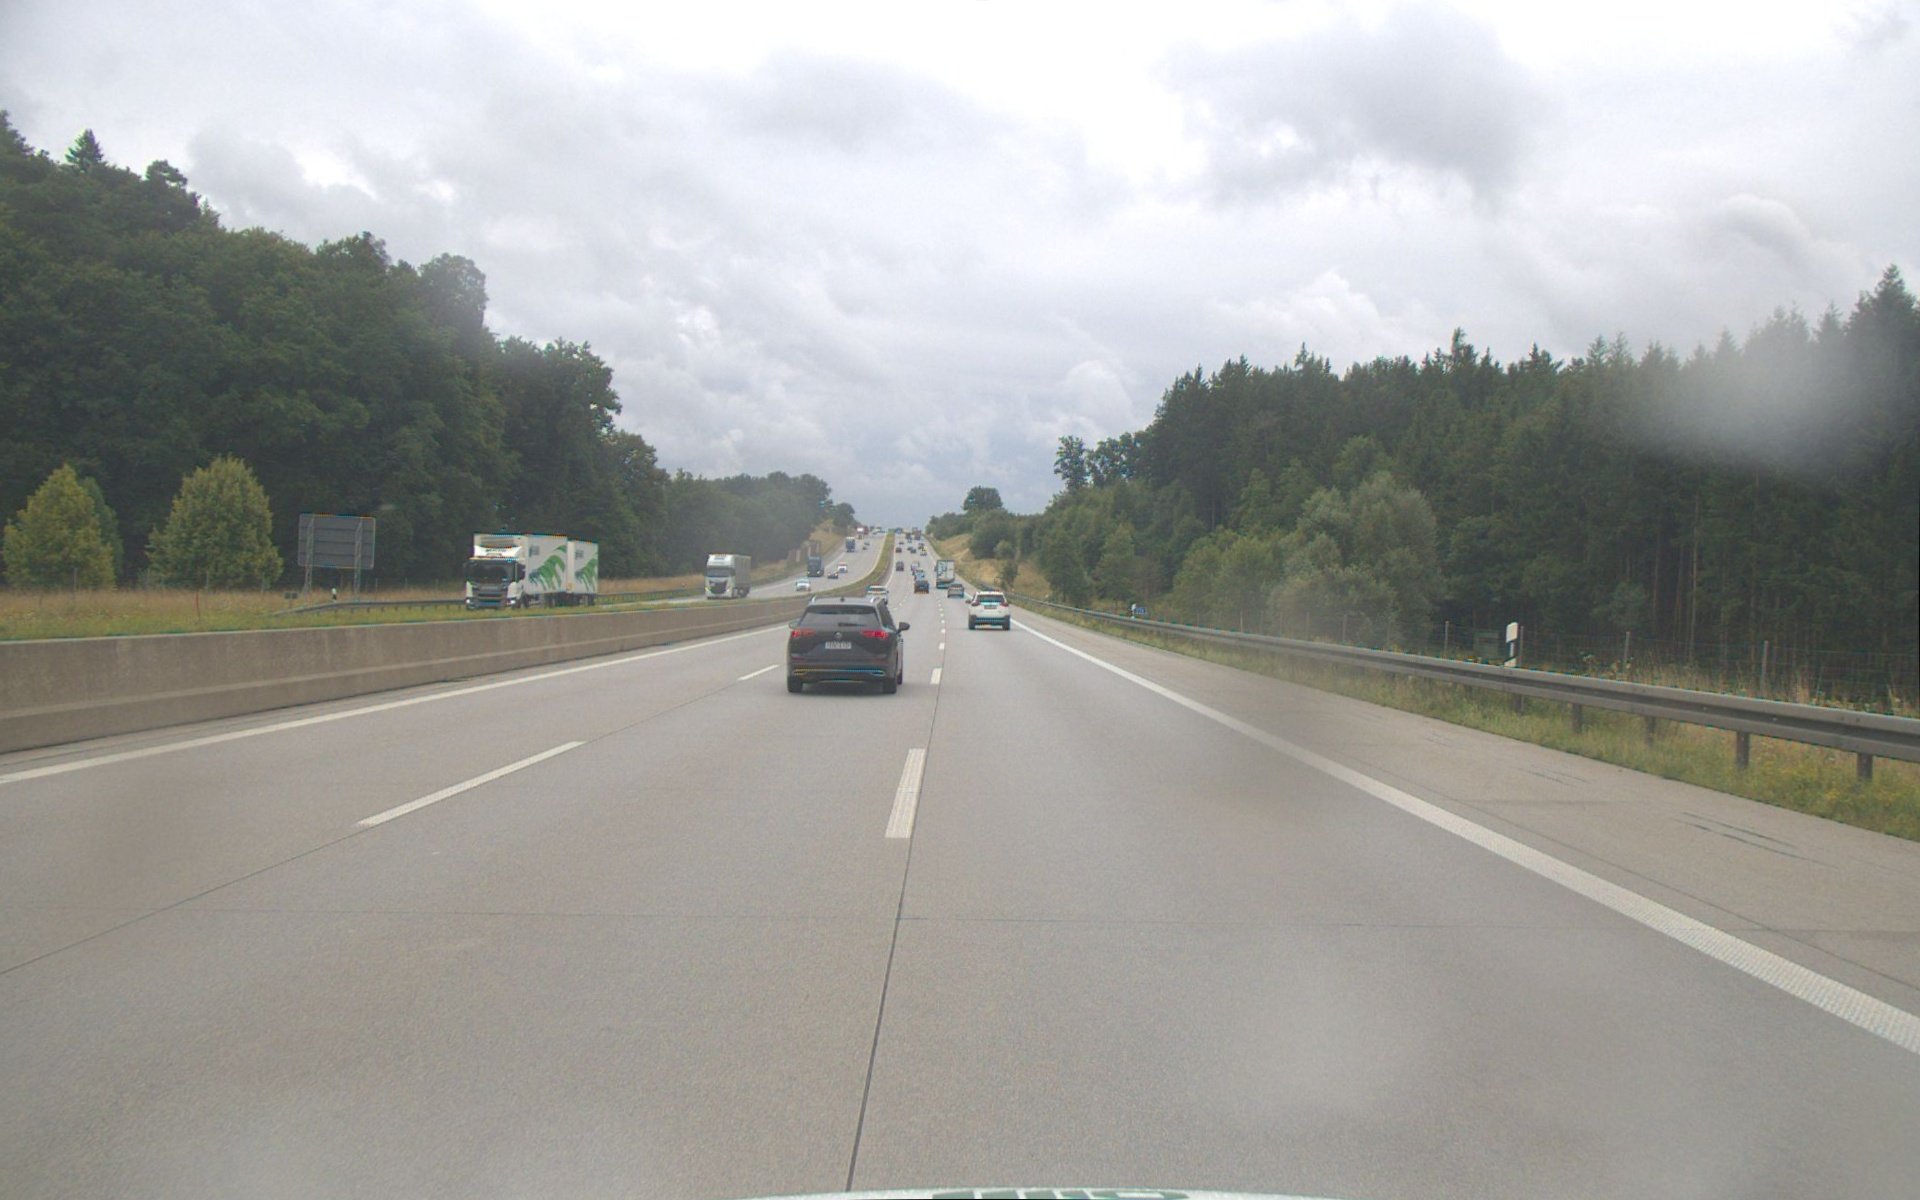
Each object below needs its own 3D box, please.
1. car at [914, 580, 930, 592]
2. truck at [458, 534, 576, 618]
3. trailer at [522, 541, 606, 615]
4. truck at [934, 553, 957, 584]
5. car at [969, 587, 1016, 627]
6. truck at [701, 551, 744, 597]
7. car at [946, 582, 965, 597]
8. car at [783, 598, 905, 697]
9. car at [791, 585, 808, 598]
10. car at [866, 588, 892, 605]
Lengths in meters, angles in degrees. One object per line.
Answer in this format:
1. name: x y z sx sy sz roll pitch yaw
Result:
1. car: -4.764 -1.741 207.194 1.896 1.399 4.594 1 1 -1
2. truck: -21.778 -1.132 82.008 2.755 3.838 11.350 1 0 0
3. trailer: -21.796 -1.225 91.534 2.761 3.848 7.715 1 1 0
4. truck: -2.154 -4.605 239.864 2.957 4.252 8.352 1 2 -2
5. car: 1.406 0.276 72.972 1.789 1.684 3.982 1 0 -3
6. truck: -22.304 -2.424 155.723 3.147 4.128 7.164 1 1 -1
7. car: -0.508 -1.153 182.412 1.953 1.556 4.000 3 1 0
8. car: -1.786 0.702 26.725 1.717 1.422 4.483 1 0 -1
9. car: -20.198 -1.075 208.398 1.747 1.494 4.371 0 1 -2
10. car: -6.957 -0.307 142.074 1.907 1.379 4.260 1 0 1
